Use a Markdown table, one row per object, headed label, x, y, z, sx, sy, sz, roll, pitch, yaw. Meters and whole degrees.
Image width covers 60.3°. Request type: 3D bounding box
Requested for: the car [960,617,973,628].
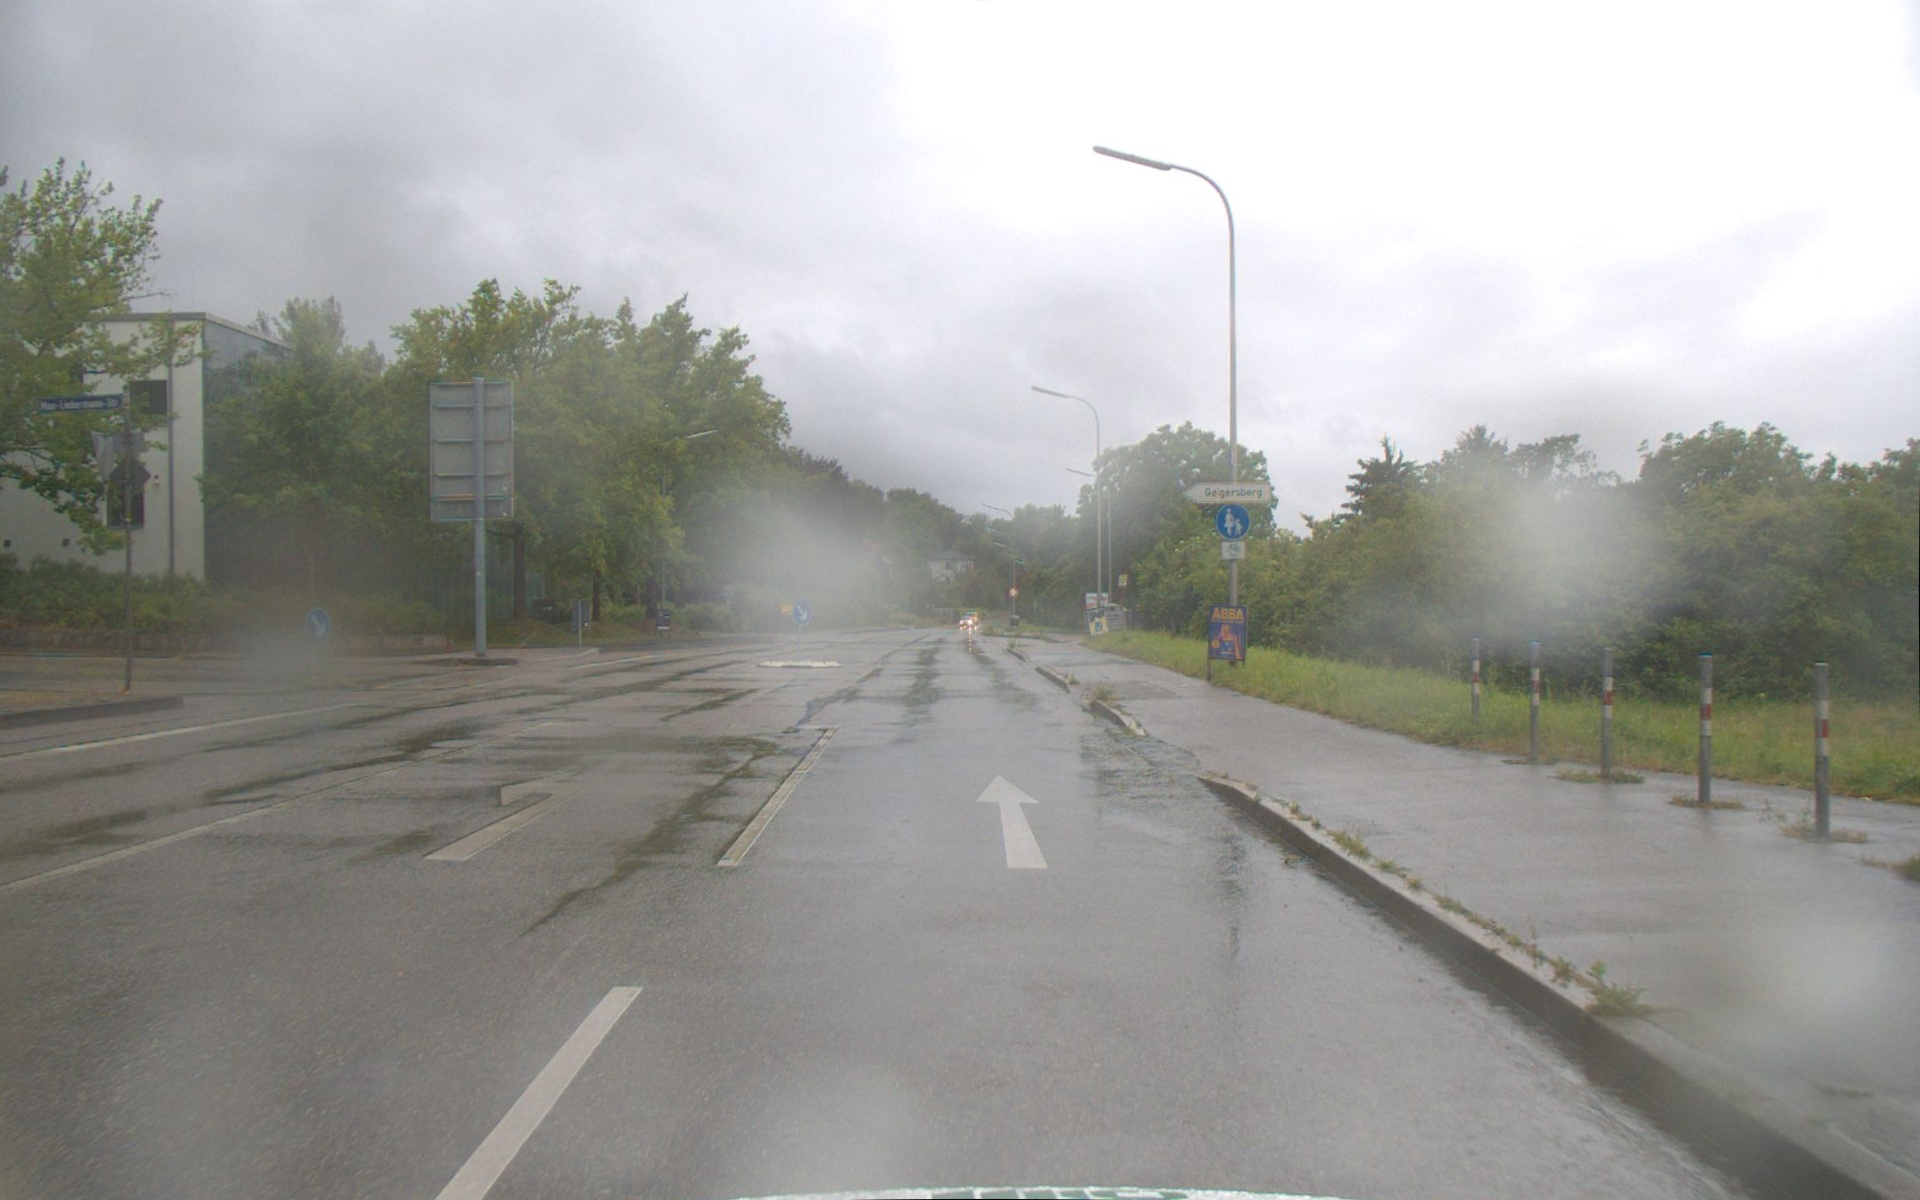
| label | x | y | z | sx | sy | sz | roll | pitch | yaw |
| --- | --- | --- | --- | --- | --- | --- | --- | --- | --- |
| car | 0.836 | 2.846 | 211.019 | 1.666 | 1.373 | 3.905 | 0 | -1 | 1 |
